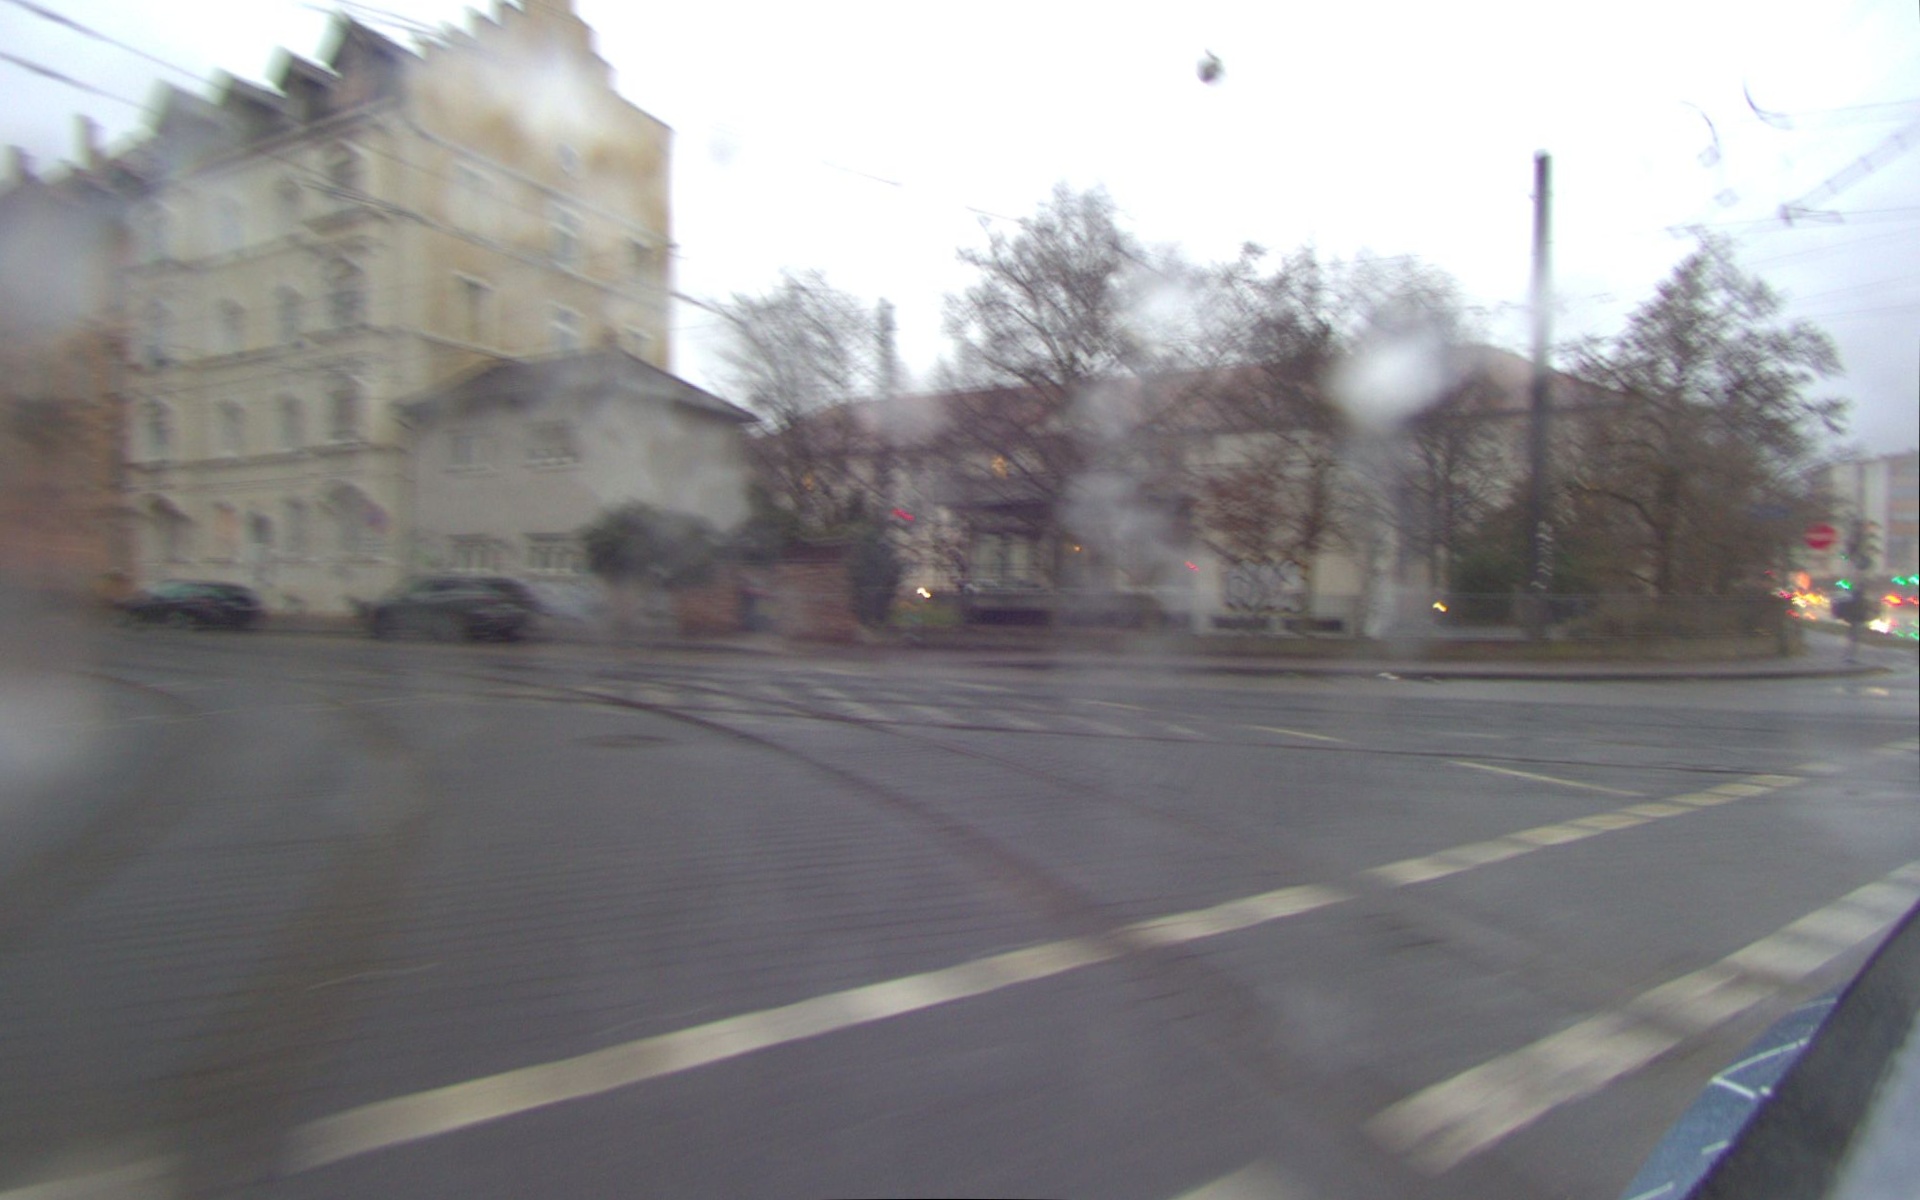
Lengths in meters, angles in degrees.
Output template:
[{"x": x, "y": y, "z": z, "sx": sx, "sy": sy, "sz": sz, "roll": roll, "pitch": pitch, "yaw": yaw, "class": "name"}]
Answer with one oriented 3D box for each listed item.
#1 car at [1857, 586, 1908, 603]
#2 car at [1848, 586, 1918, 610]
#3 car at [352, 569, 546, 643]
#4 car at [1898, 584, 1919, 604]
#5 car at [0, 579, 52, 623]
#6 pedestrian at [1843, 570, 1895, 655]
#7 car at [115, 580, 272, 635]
[{"x": 79.731, "y": -0.455, "z": 87.560, "sx": 1.948, "sy": 1.404, "sz": 4.495, "roll": 1, "pitch": 1, "yaw": 25, "class": "car"}, {"x": 57.620, "y": -0.161, "z": 63.263, "sx": 1.948, "sy": 1.404, "sz": 4.495, "roll": 1, "pitch": 1, "yaw": 25, "class": "car"}, {"x": -12.772, "y": 0.100, "z": 25.307, "sx": 4.463, "sy": 1.690, "sz": 1.984, "roll": 1, "pitch": 1, "yaw": 24, "class": "car"}, {"x": 76.042, "y": -0.441, "z": 79.630, "sx": 1.948, "sy": 1.533, "sz": 4.495, "roll": 1, "pitch": 1, "yaw": 25, "class": "car"}, {"x": -34.776, "y": 0.004, "z": 36.235, "sx": 4.469, "sy": 1.458, "sz": 1.981, "roll": 1, "pitch": 1, "yaw": 28, "class": "car"}, {"x": 20.769, "y": 0.278, "z": 23.128, "sx": 0.670, "sy": 1.860, "sz": 0.575, "roll": 2, "pitch": 5, "yaw": -37, "class": "pedestrian"}, {"x": -22.445, "y": 0.174, "z": 29.622, "sx": 4.469, "sy": 1.458, "sz": 1.981, "roll": 1, "pitch": 1, "yaw": 28, "class": "car"}]
